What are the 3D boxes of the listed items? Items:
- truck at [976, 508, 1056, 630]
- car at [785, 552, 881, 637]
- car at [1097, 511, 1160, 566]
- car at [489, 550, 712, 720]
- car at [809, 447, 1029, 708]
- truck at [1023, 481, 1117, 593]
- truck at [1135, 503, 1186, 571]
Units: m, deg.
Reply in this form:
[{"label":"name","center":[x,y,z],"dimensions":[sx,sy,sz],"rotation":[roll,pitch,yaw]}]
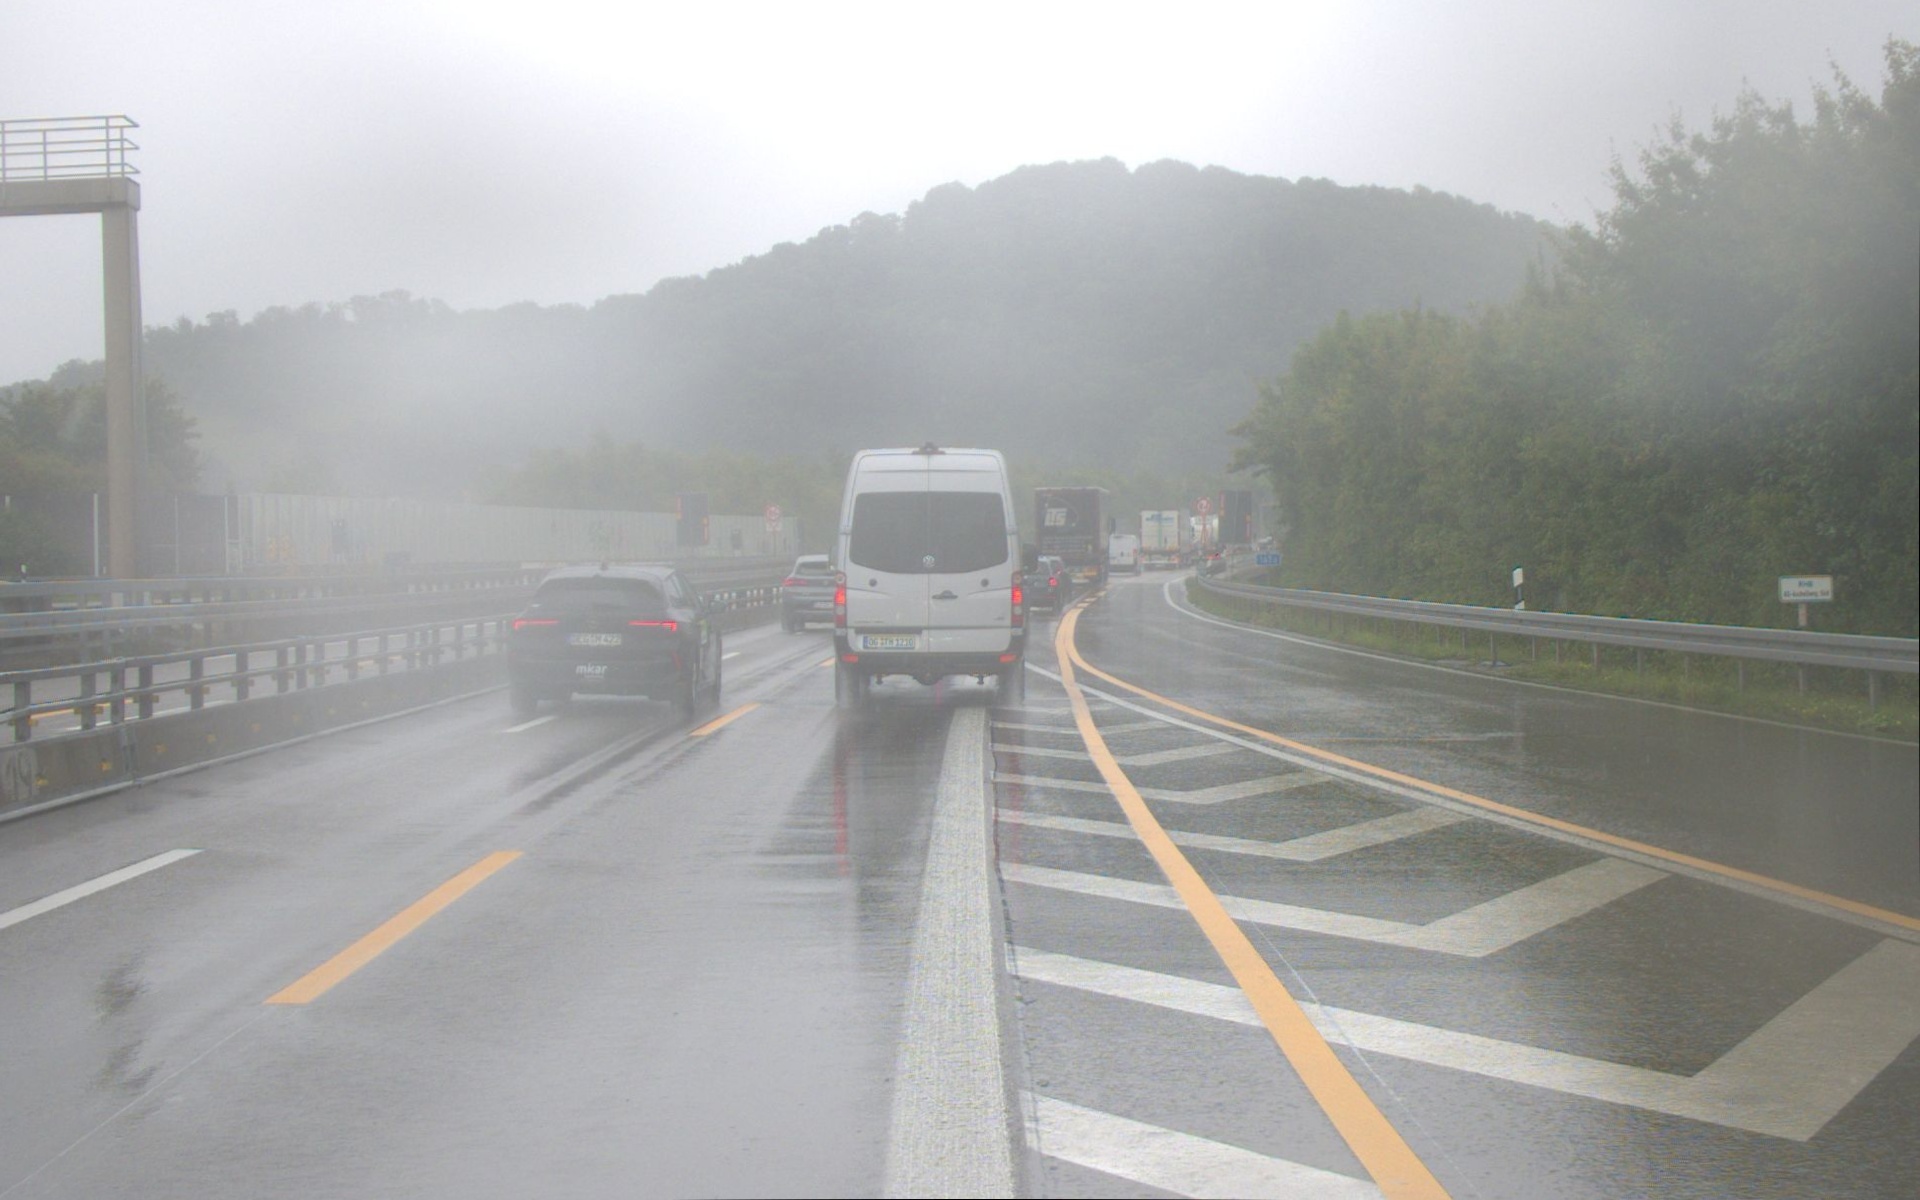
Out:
[{"label":"truck","center":[1.546,-0.841,92.114],"dimensions":[1.993,3.098,8.498],"rotation":[1,1,2]},{"label":"car","center":[-2.497,-0.123,68.182],"dimensions":[1.707,1.622,4.000],"rotation":[1,1,0]},{"label":"car","center":[9.225,-3.327,187.652],"dimensions":[2.899,2.877,6.409],"rotation":[1,1,8]},{"label":"car","center":[-3.480,0.305,33.916],"dimensions":[1.946,1.556,4.000],"rotation":[1,1,-3]},{"label":"car","center":[-0.403,-0.251,36.841],"dimensions":[2.145,2.562,5.390],"rotation":[1,1,0]},{"label":"truck","center":[4.575,-2.545,141.532],"dimensions":[3.581,4.391,9.623],"rotation":[1,1,3]},{"label":"truck","center":[13.302,-4.119,227.633],"dimensions":[3.036,4.391,9.622],"rotation":[1,1,5]}]
